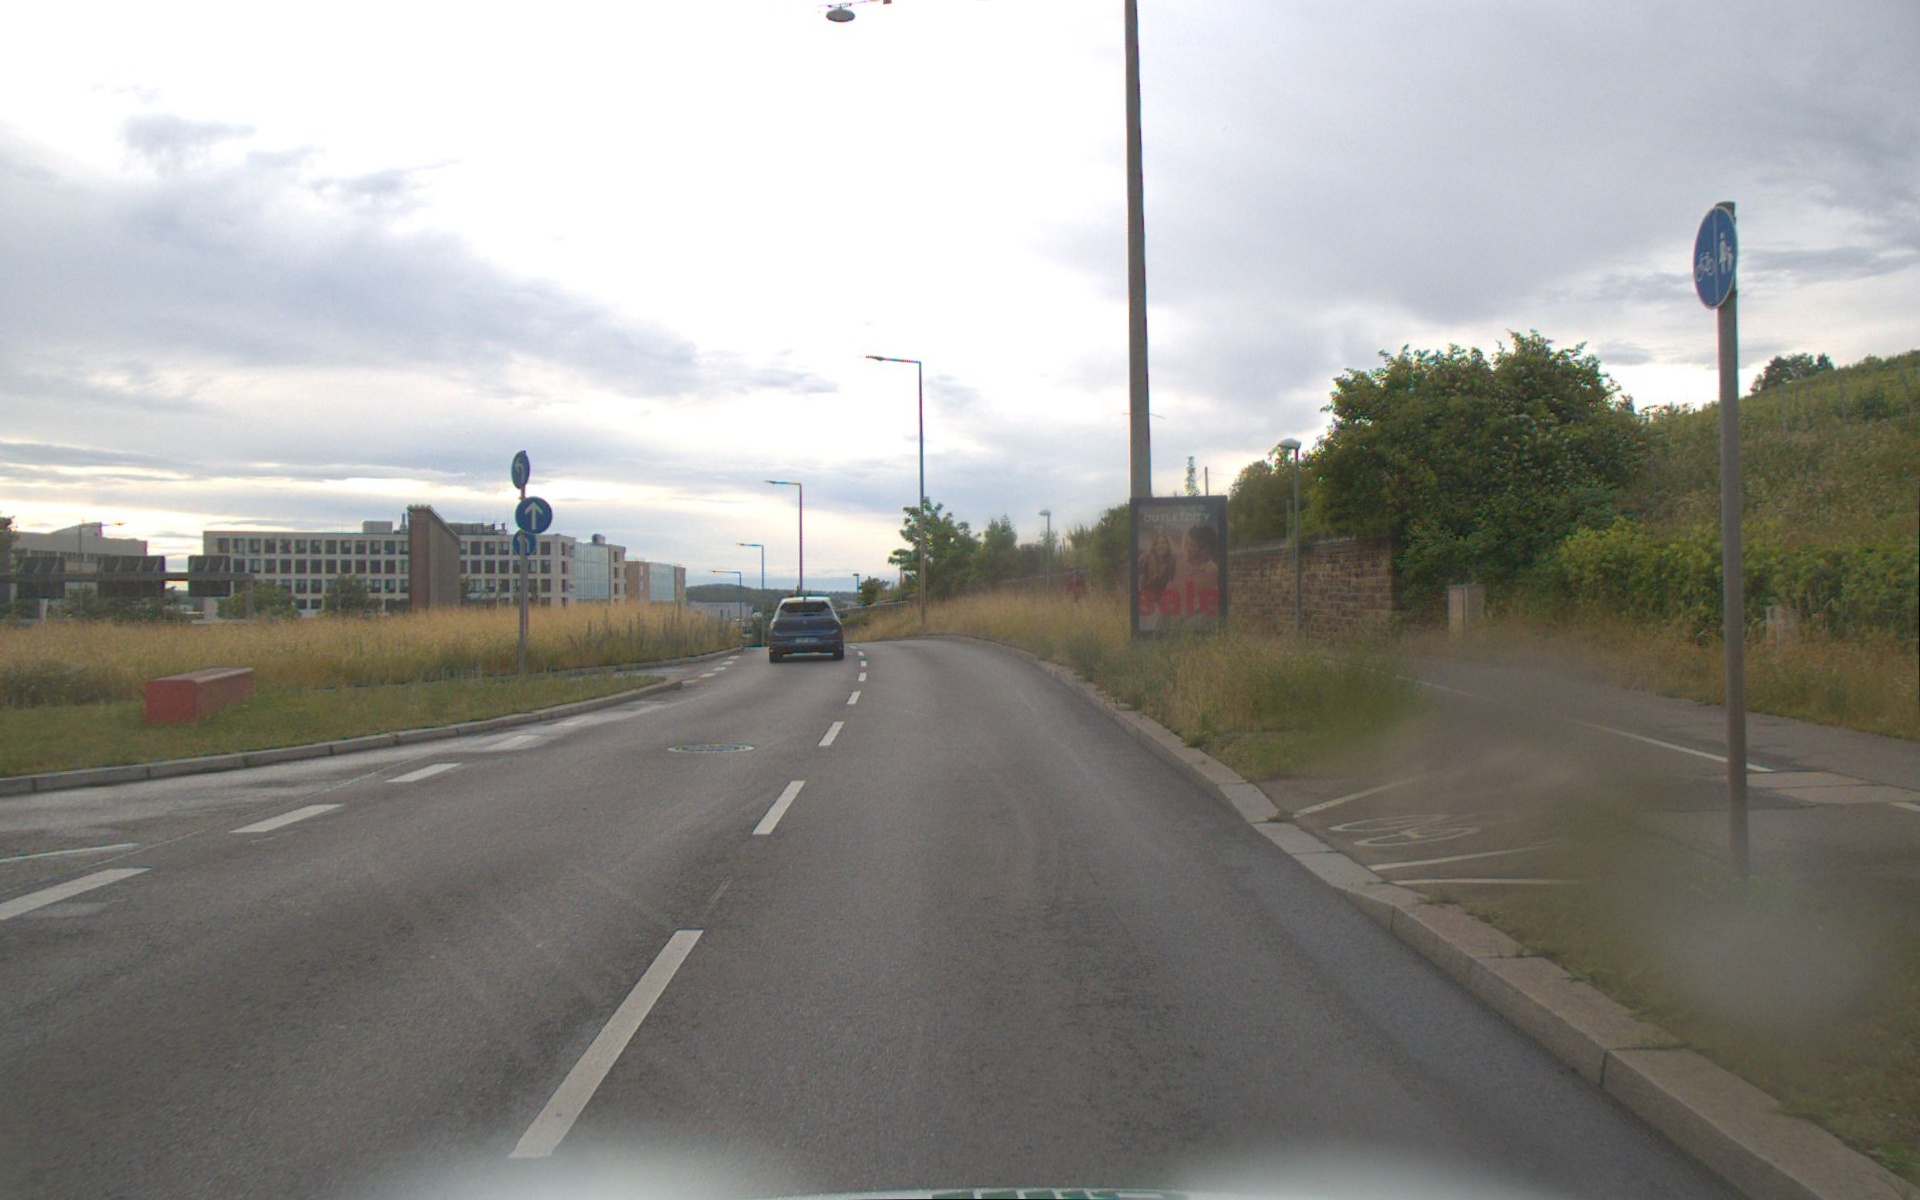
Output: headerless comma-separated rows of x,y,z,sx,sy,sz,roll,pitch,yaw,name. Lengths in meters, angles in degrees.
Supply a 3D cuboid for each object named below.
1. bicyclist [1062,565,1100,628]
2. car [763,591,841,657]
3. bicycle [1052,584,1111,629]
3.887,-0.091,53.242,0.854,1.942,1.289,2,-3,-14,bicyclist
-3.710,0.552,39.013,1.715,1.445,3.474,2,0,-5,car
3.885,0.230,53.227,0.854,1.311,3.474,2,-3,-14,bicycle
